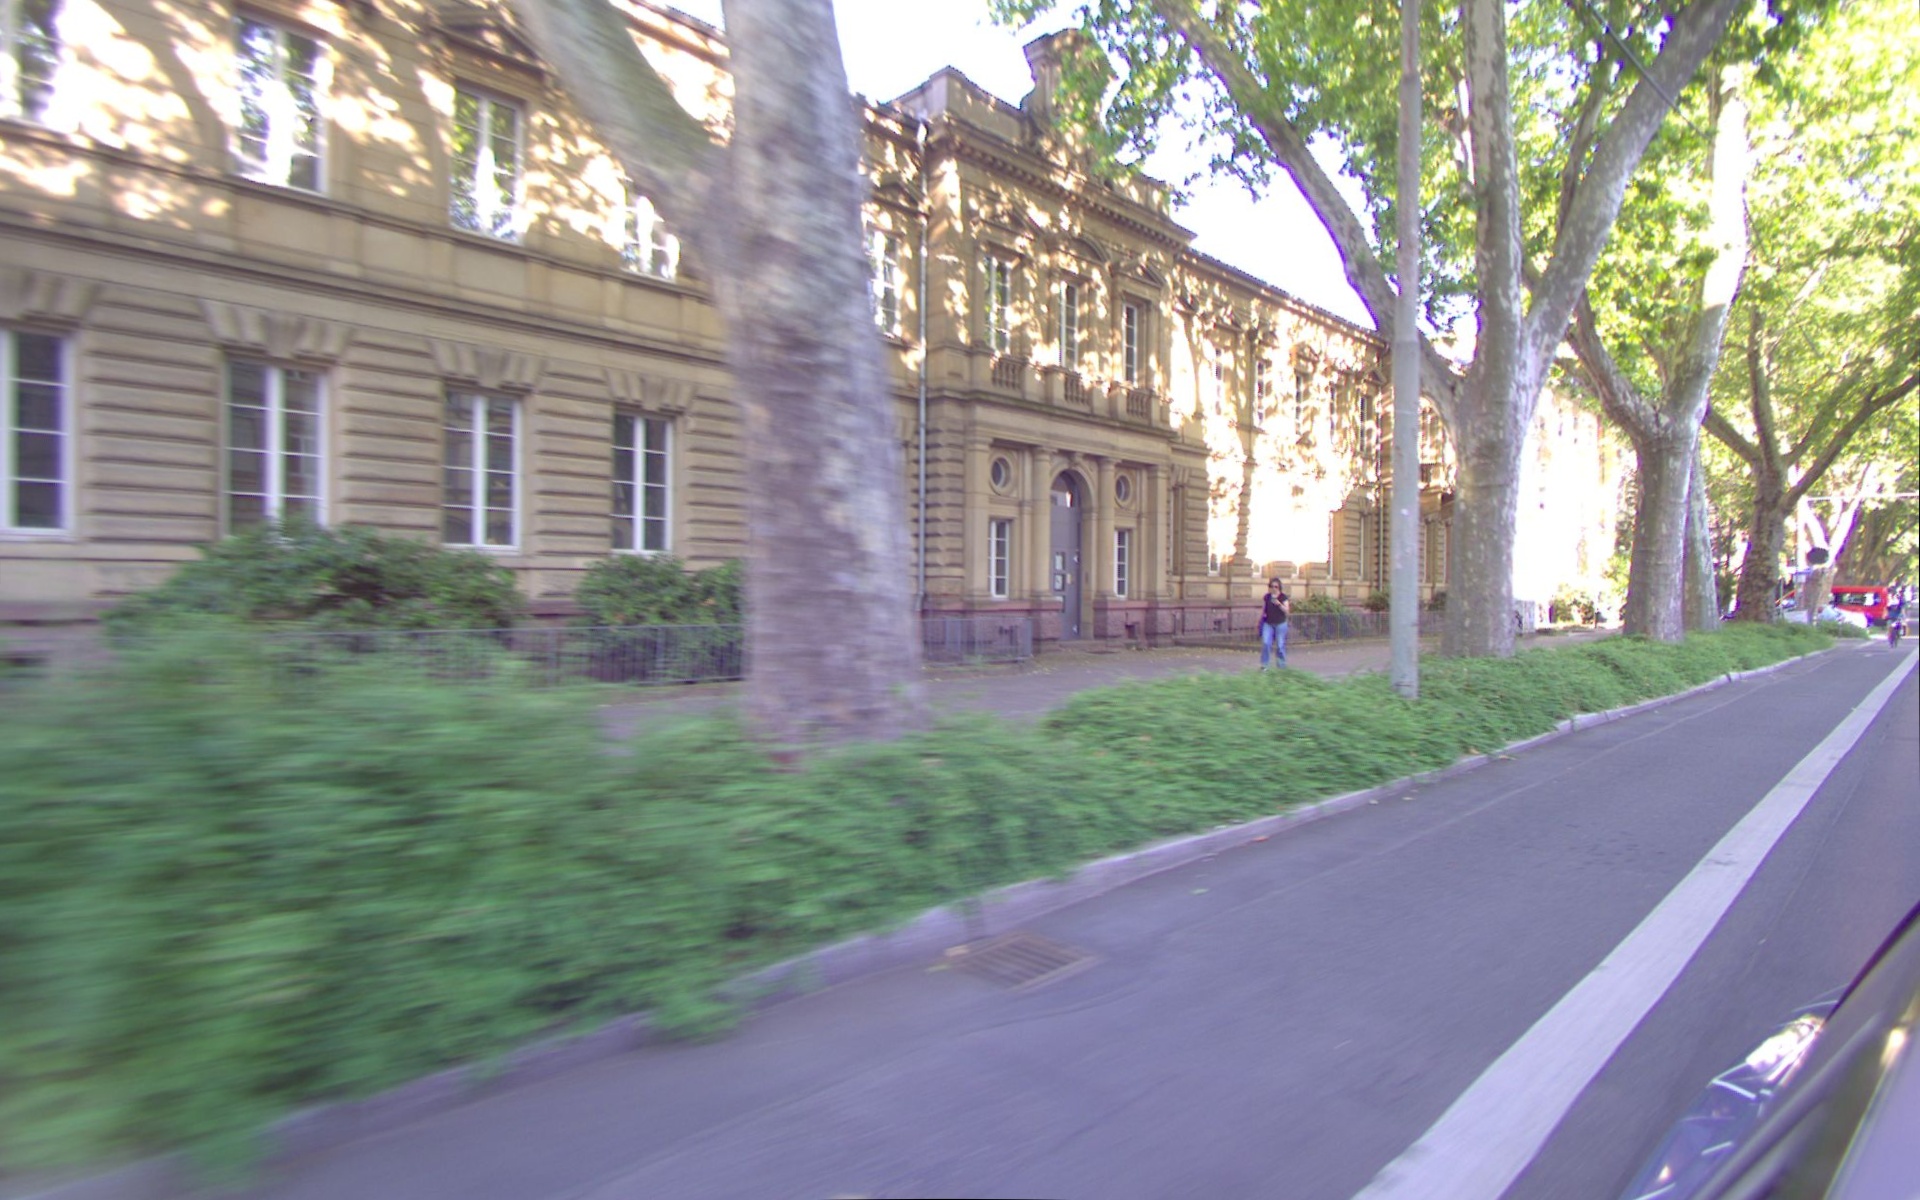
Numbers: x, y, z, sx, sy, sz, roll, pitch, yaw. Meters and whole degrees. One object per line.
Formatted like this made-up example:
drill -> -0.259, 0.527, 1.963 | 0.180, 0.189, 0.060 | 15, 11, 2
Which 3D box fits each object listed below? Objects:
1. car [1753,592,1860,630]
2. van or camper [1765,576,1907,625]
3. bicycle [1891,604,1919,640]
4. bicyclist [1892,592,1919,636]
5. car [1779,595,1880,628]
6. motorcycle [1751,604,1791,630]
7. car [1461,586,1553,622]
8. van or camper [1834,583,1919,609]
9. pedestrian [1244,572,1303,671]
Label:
car -> 38.850, 0.487, 46.483 | 1.590, 1.561, 3.669 | -4, 3, -45
van or camper -> 48.710, -0.048, 56.405 | 5.911, 2.528, 2.187 | 1, 3, 43
bicycle -> 32.017, 0.738, 34.198 | 0.713, 1.152, 2.086 | 1, 1, 45
bicyclist -> 31.970, 0.450, 34.138 | 0.938, 1.461, 0.713 | 0, 0, -44
car -> 42.725, 0.526, 49.754 | 1.590, 1.435, 3.669 | -4, 3, -45
motorcycle -> 34.181, 0.693, 42.664 | 1.250, 1.067, 0.394 | 1, 0, 9
car -> 26.014, 0.158, 48.190 | 1.709, 1.561, 3.564 | -4, 3, -45
van or camper -> 89.730, -0.412, 99.120 | 2.388, 2.461, 6.088 | 0, 1, -44
pedestrian -> 5.781, 0.377, 18.654 | 0.991, 1.758, 0.651 | 0, 0, -45
